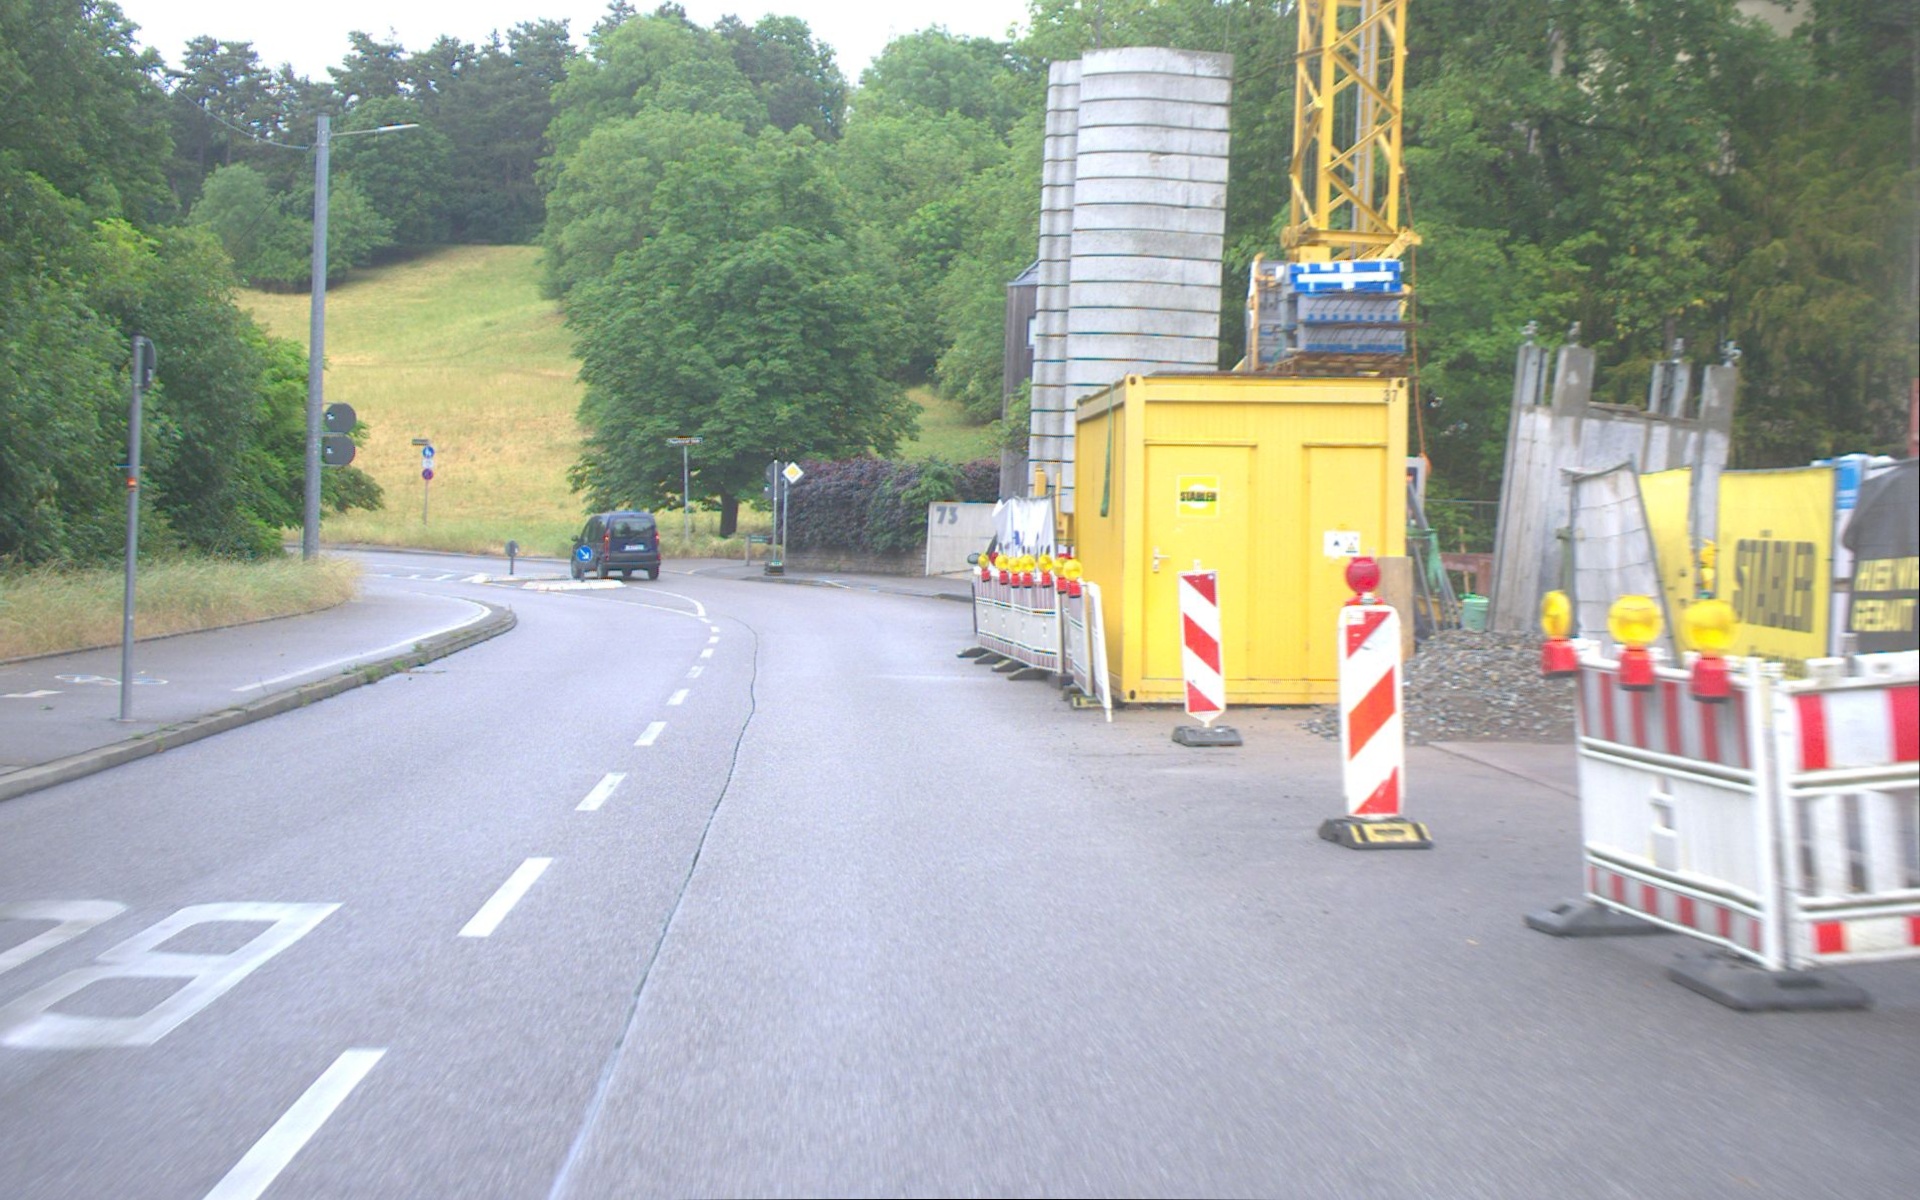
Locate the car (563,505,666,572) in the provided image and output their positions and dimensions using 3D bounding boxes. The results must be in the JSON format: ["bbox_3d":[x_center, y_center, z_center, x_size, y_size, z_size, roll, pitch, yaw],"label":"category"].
[{"bbox_3d":[-9.359,-1.682,92.956,1.931,1.745,4.001,0,2,-18],"label":"car"}]

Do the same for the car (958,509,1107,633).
[{"bbox_3d":[1.003,-0.457,50.016,1.744,1.700,4.503,-1,1,-4],"label":"car"}]

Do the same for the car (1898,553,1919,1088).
[{"bbox_3d":[3.633,0.655,6.908,1.931,1.417,4.838,1,1,-3],"label":"car"}]
